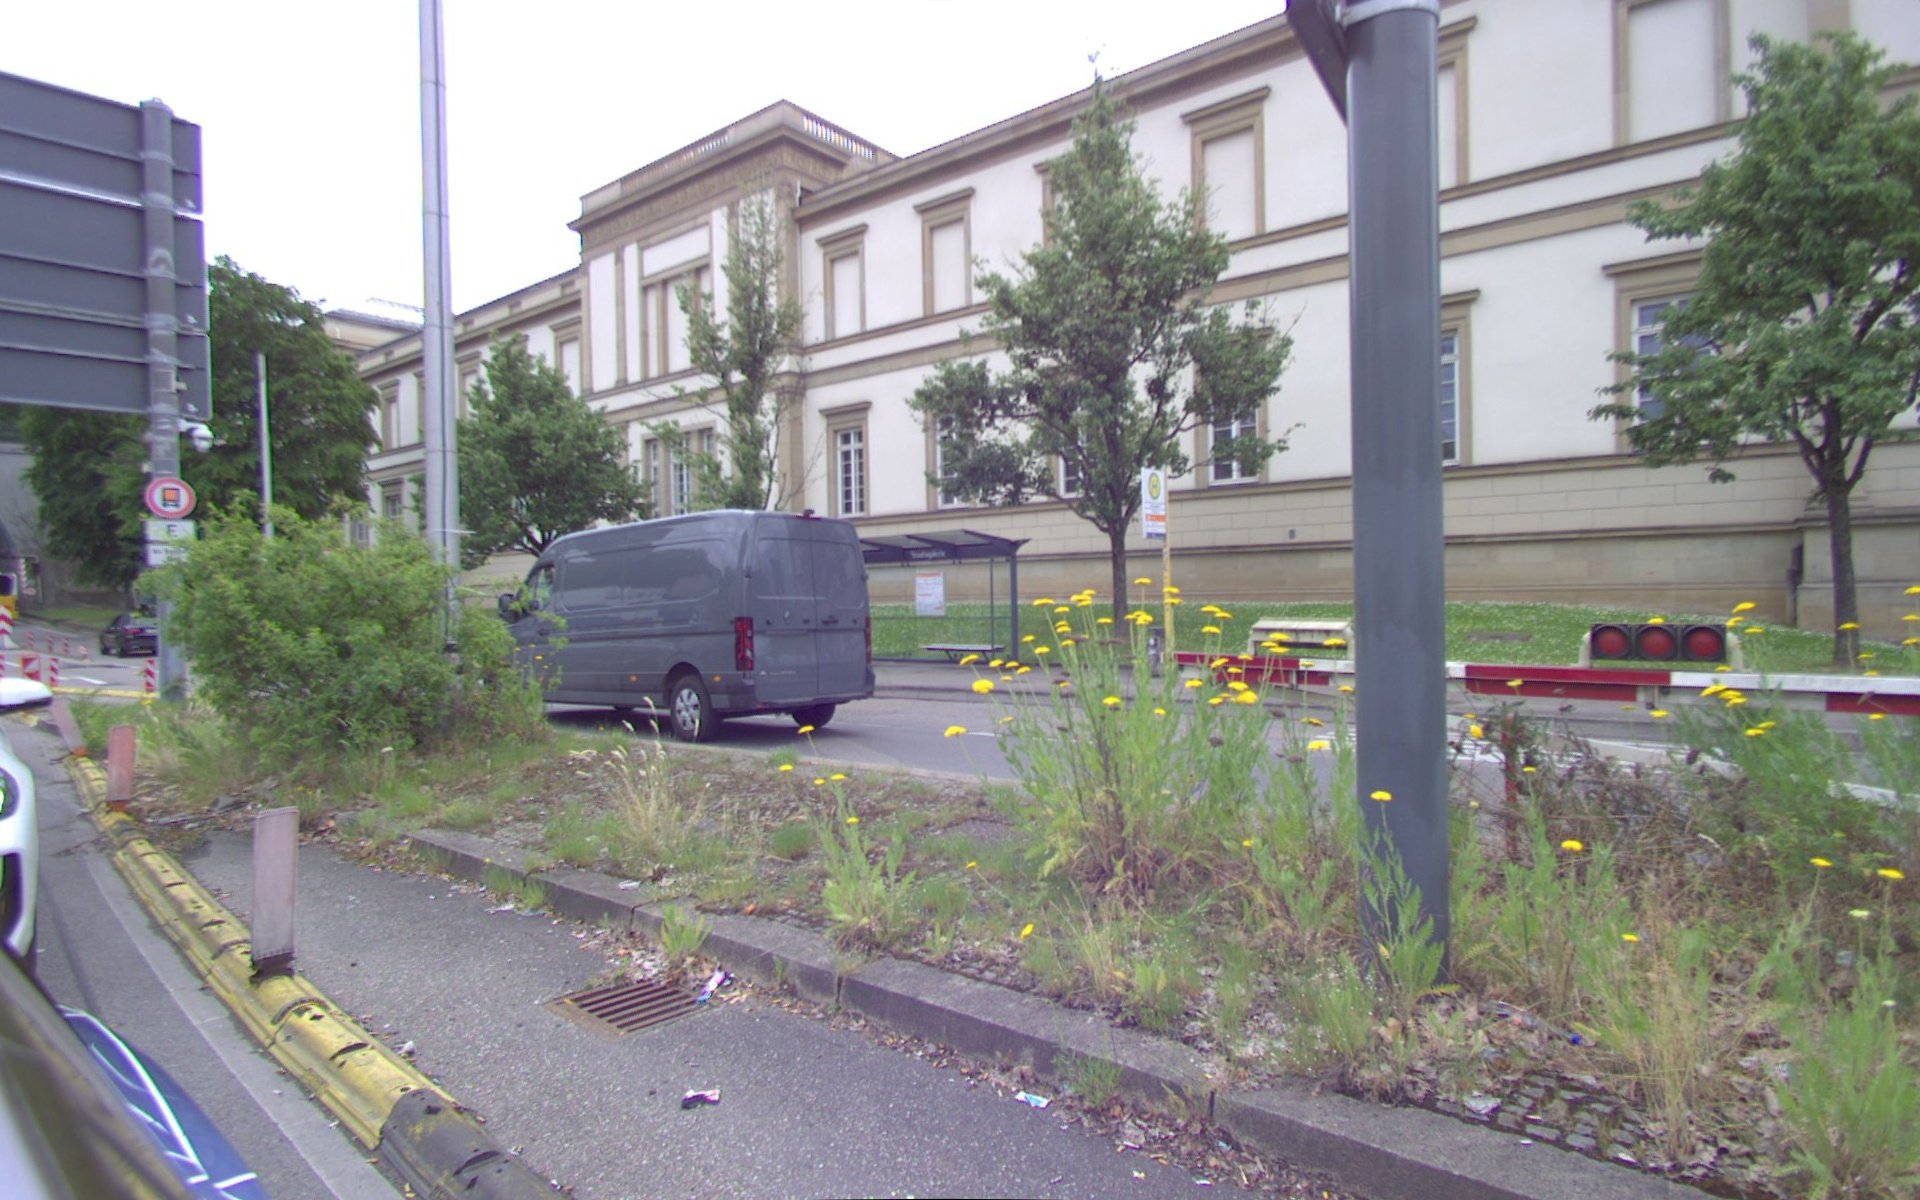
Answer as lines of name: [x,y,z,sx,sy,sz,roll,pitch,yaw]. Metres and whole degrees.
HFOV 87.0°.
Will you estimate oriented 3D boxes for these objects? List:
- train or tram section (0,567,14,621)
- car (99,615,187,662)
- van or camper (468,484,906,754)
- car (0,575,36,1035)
train or tram section: [-59.860,-0.283,61.279,9.329,3.094,2.666,-2,-2,40]
car: [-31.358,1.432,38.809,4.368,1.638,1.860,-1,0,41]
van or camper: [-3.651,0.252,12.628,6.078,2.630,2.131,-2,-1,40]
car: [-5.229,0.723,4.214,3.911,1.568,1.733,-1,0,43]
